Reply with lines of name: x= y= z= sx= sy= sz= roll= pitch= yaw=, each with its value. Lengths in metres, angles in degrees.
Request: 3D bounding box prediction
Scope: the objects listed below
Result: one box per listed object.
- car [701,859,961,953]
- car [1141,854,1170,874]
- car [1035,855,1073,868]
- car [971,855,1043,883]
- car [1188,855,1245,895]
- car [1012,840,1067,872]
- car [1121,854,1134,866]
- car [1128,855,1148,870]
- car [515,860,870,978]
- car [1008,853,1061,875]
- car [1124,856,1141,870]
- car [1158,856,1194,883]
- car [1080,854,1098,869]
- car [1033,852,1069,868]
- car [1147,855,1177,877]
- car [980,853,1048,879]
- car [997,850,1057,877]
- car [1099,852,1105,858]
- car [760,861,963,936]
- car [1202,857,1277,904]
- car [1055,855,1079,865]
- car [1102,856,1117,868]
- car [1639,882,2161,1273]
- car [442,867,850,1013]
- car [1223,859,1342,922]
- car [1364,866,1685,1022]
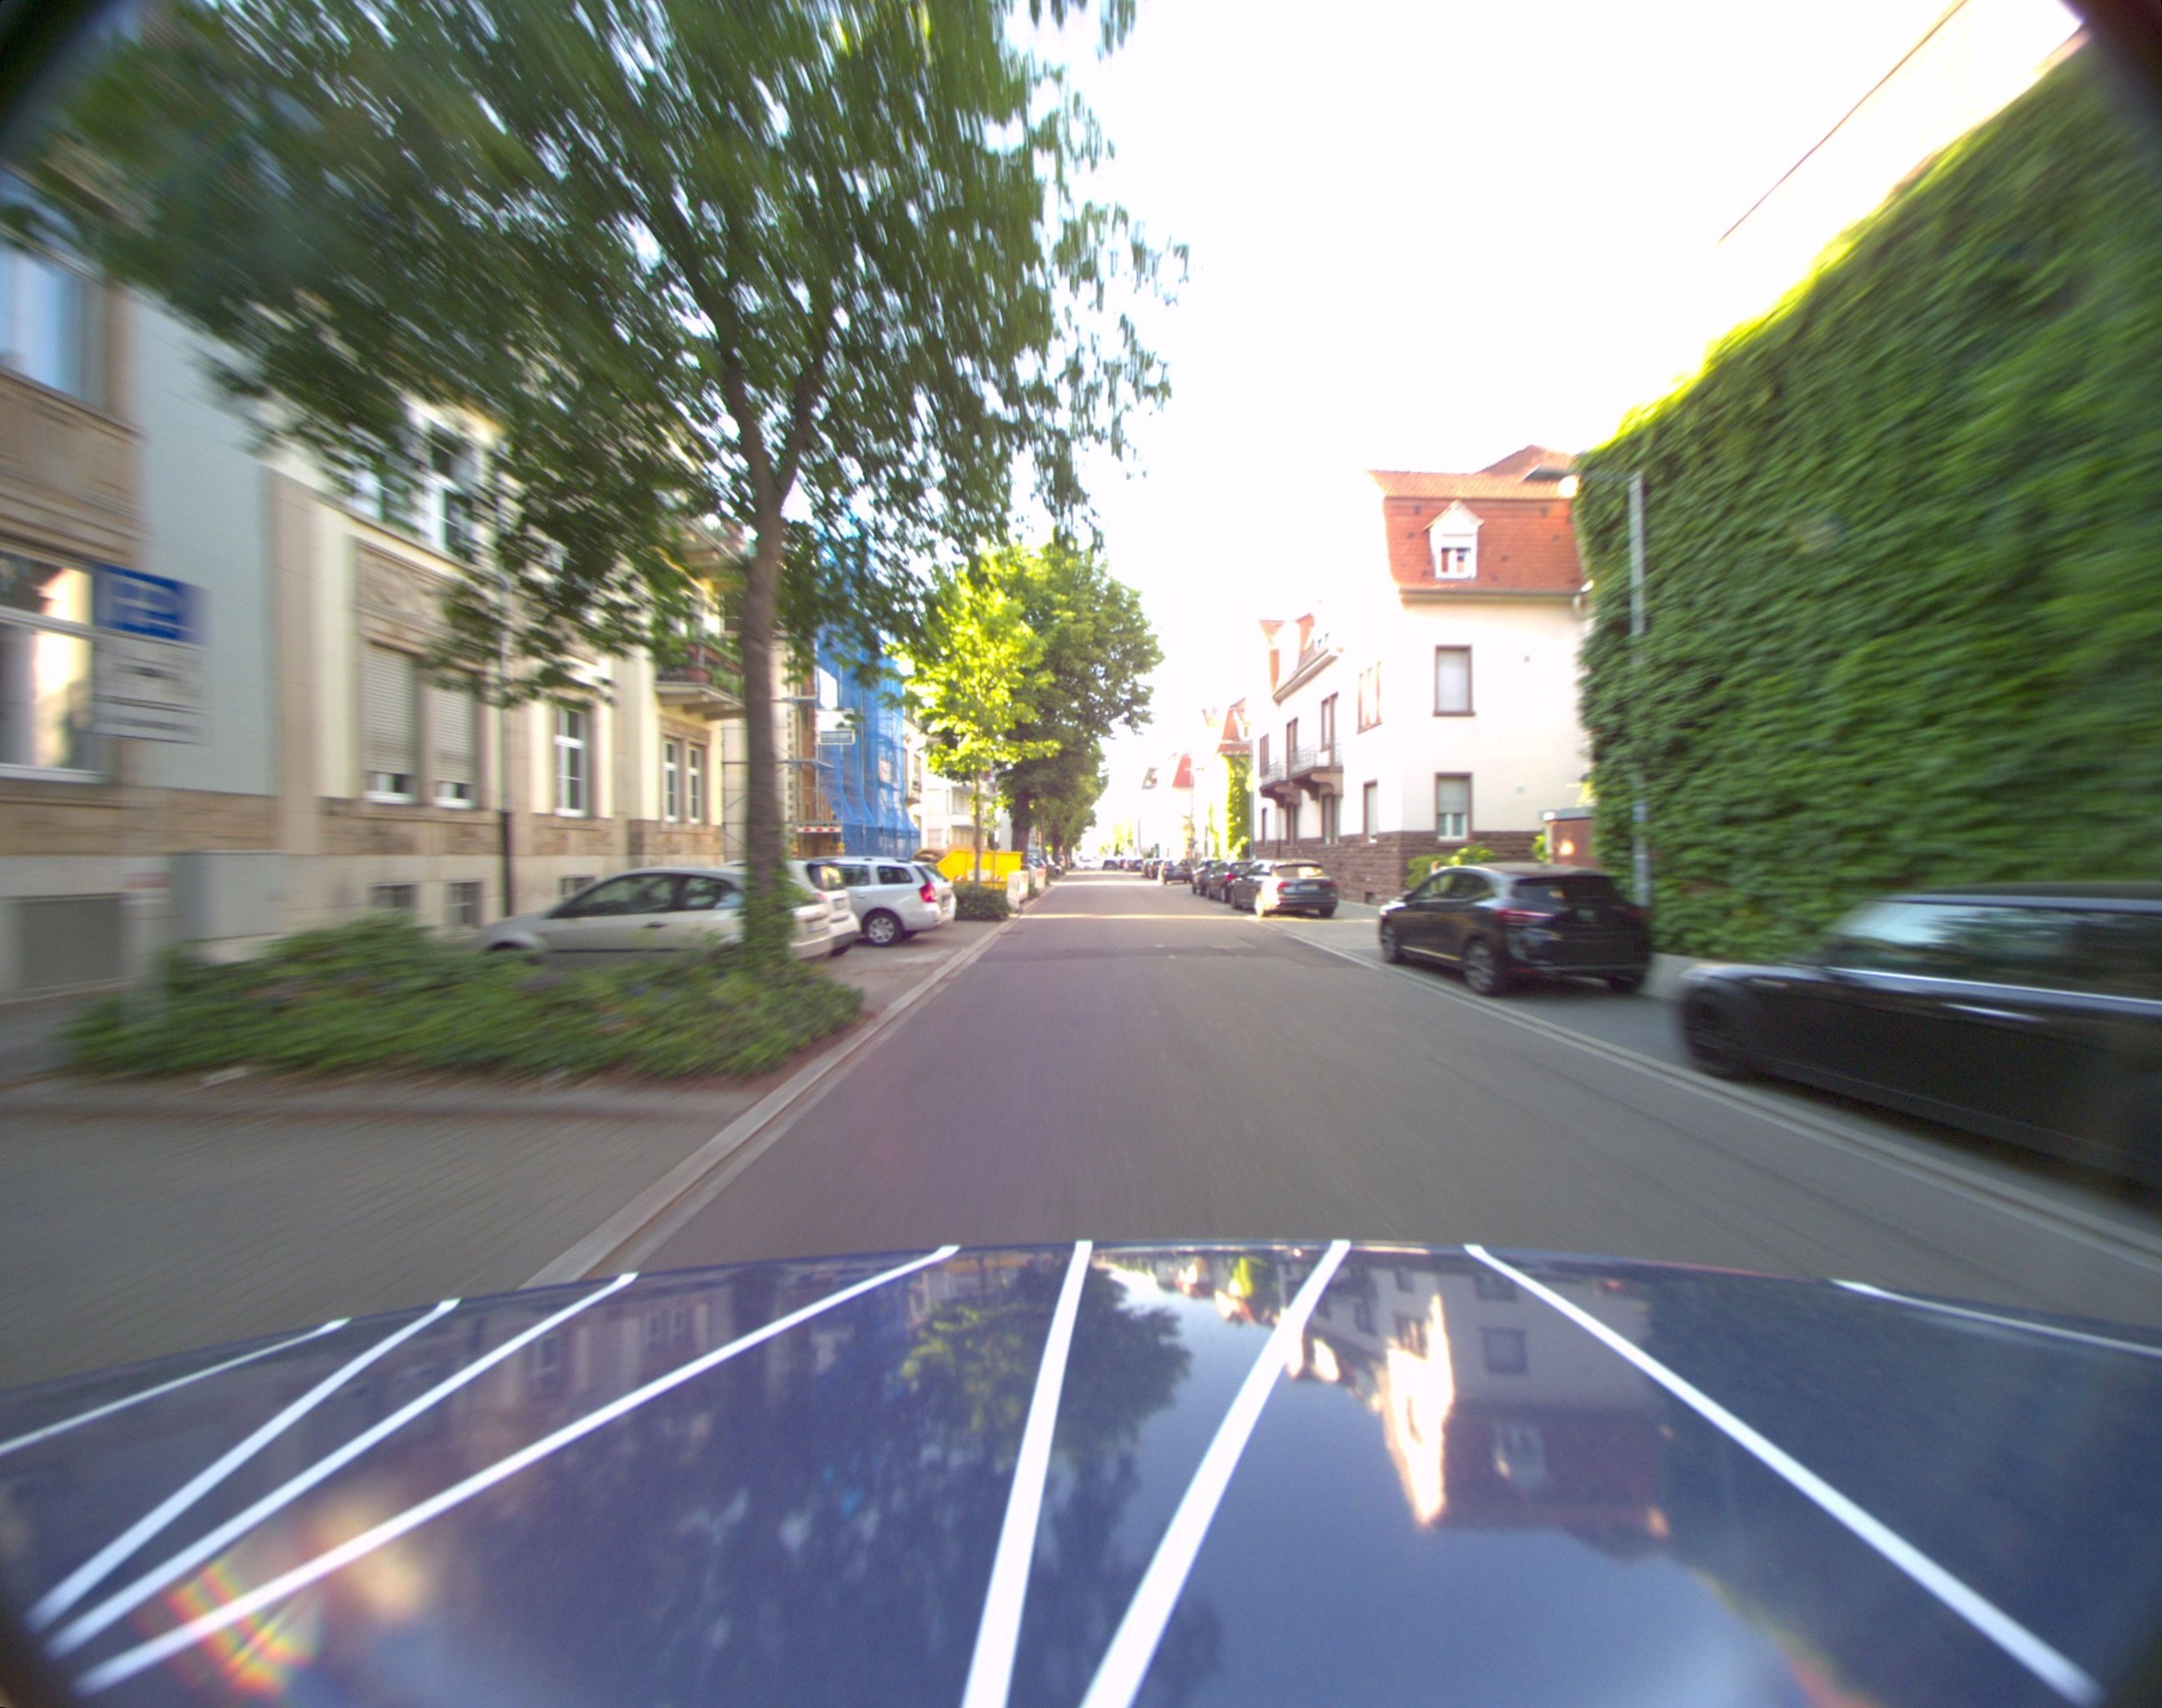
car: x=-4.418 y=0.889 z=13.815 sx=4.154 sy=1.526 sz=1.687 roll=1 pitch=0 yaw=3
car: x=5.846 y=0.795 z=60.141 sx=1.714 sy=1.461 sz=4.633 roll=-2 pitch=0 yaw=-1
car: x=-3.156 y=0.860 z=88.084 sx=4.313 sy=1.532 sz=1.758 roll=0 pitch=0 yaw=-2
car: x=-4.439 y=0.899 z=45.909 sx=4.166 sy=1.530 sz=1.851 roll=1 pitch=1 yaw=0
car: x=5.423 y=0.799 z=30.866 sx=1.657 sy=1.477 sz=3.764 roll=-2 pitch=0 yaw=1
car: x=-3.838 y=0.184 z=71.215 sx=5.109 sy=2.885 sz=2.075 roll=0 pitch=0 yaw=-2
car: x=6.339 y=0.779 z=103.089 sx=1.654 sy=1.474 sz=3.429 roll=-2 pitch=0 yaw=2
car: x=5.854 y=0.863 z=78.531 sx=1.657 sy=1.446 sz=4.631 roll=-2 pitch=0 yaw=1
car: x=-5.559 y=0.892 z=11.280 sx=4.325 sy=1.526 sz=1.828 roll=1 pitch=0 yaw=0
car: x=-3.738 y=0.795 z=61.057 sx=4.188 sy=1.714 sz=1.764 roll=0 pitch=1 yaw=-7
car: x=5.949 y=0.996 z=88.415 sx=1.585 sy=1.511 sz=3.706 roll=-2 pitch=0 yaw=-1
car: x=5.547 y=0.869 z=44.707 sx=1.657 sy=1.438 sz=4.005 roll=-2 pitch=0 yaw=1
car: x=1.016 y=0.904 z=94.588 sx=2.098 sy=1.700 sz=4.606 roll=-1 pitch=0 yaw=1
car: x=-3.569 y=0.694 z=90.359 sx=4.313 sy=1.874 sz=1.758 roll=0 pitch=1 yaw=-2
car: x=5.793 y=0.834 z=54.748 sx=1.658 sy=1.407 sz=4.167 roll=-2 pitch=0 yaw=0
car: x=-4.400 y=0.774 z=50.075 sx=4.343 sy=1.673 sz=1.705 roll=1 pitch=0 yaw=-2
car: x=-4.061 y=0.704 z=57.911 sx=4.481 sy=2.002 sz=1.896 roll=-1 pitch=1 yaw=-1
car: x=6.621 y=0.347 z=237.149 sx=1.913 sy=1.679 sz=4.198 roll=-2 pitch=0 yaw=1
car: x=-4.669 y=0.915 z=16.468 sx=3.860 sy=1.454 sz=1.687 roll=1 pitch=0 yaw=5
car: x=5.414 y=0.859 z=26.424 sx=1.658 sy=1.438 sz=3.843 roll=-2 pitch=0 yaw=-2
car: x=-2.207 y=0.934 z=119.003 sx=3.680 sy=1.434 sz=1.601 roll=0 pitch=0 yaw=1
car: x=3.542 y=1.004 z=94.036 sx=1.776 sy=1.440 sz=4.000 roll=0 pitch=0 yaw=0
car: x=5.094 y=0.933 z=3.928 sx=1.690 sy=1.371 sz=3.721 roll=-2 pitch=0 yaw=1
car: x=-4.861 y=0.924 z=8.892 sx=3.757 sy=1.454 sz=1.734 roll=1 pitch=0 yaw=0
car: x=5.275 y=0.883 z=20.548 sx=1.797 sy=1.453 sz=4.776 roll=-1 pitch=0 yaw=-2
car: x=5.136 y=0.924 z=9.536 sx=1.653 sy=1.412 sz=4.098 roll=-2 pitch=0 yaw=1
